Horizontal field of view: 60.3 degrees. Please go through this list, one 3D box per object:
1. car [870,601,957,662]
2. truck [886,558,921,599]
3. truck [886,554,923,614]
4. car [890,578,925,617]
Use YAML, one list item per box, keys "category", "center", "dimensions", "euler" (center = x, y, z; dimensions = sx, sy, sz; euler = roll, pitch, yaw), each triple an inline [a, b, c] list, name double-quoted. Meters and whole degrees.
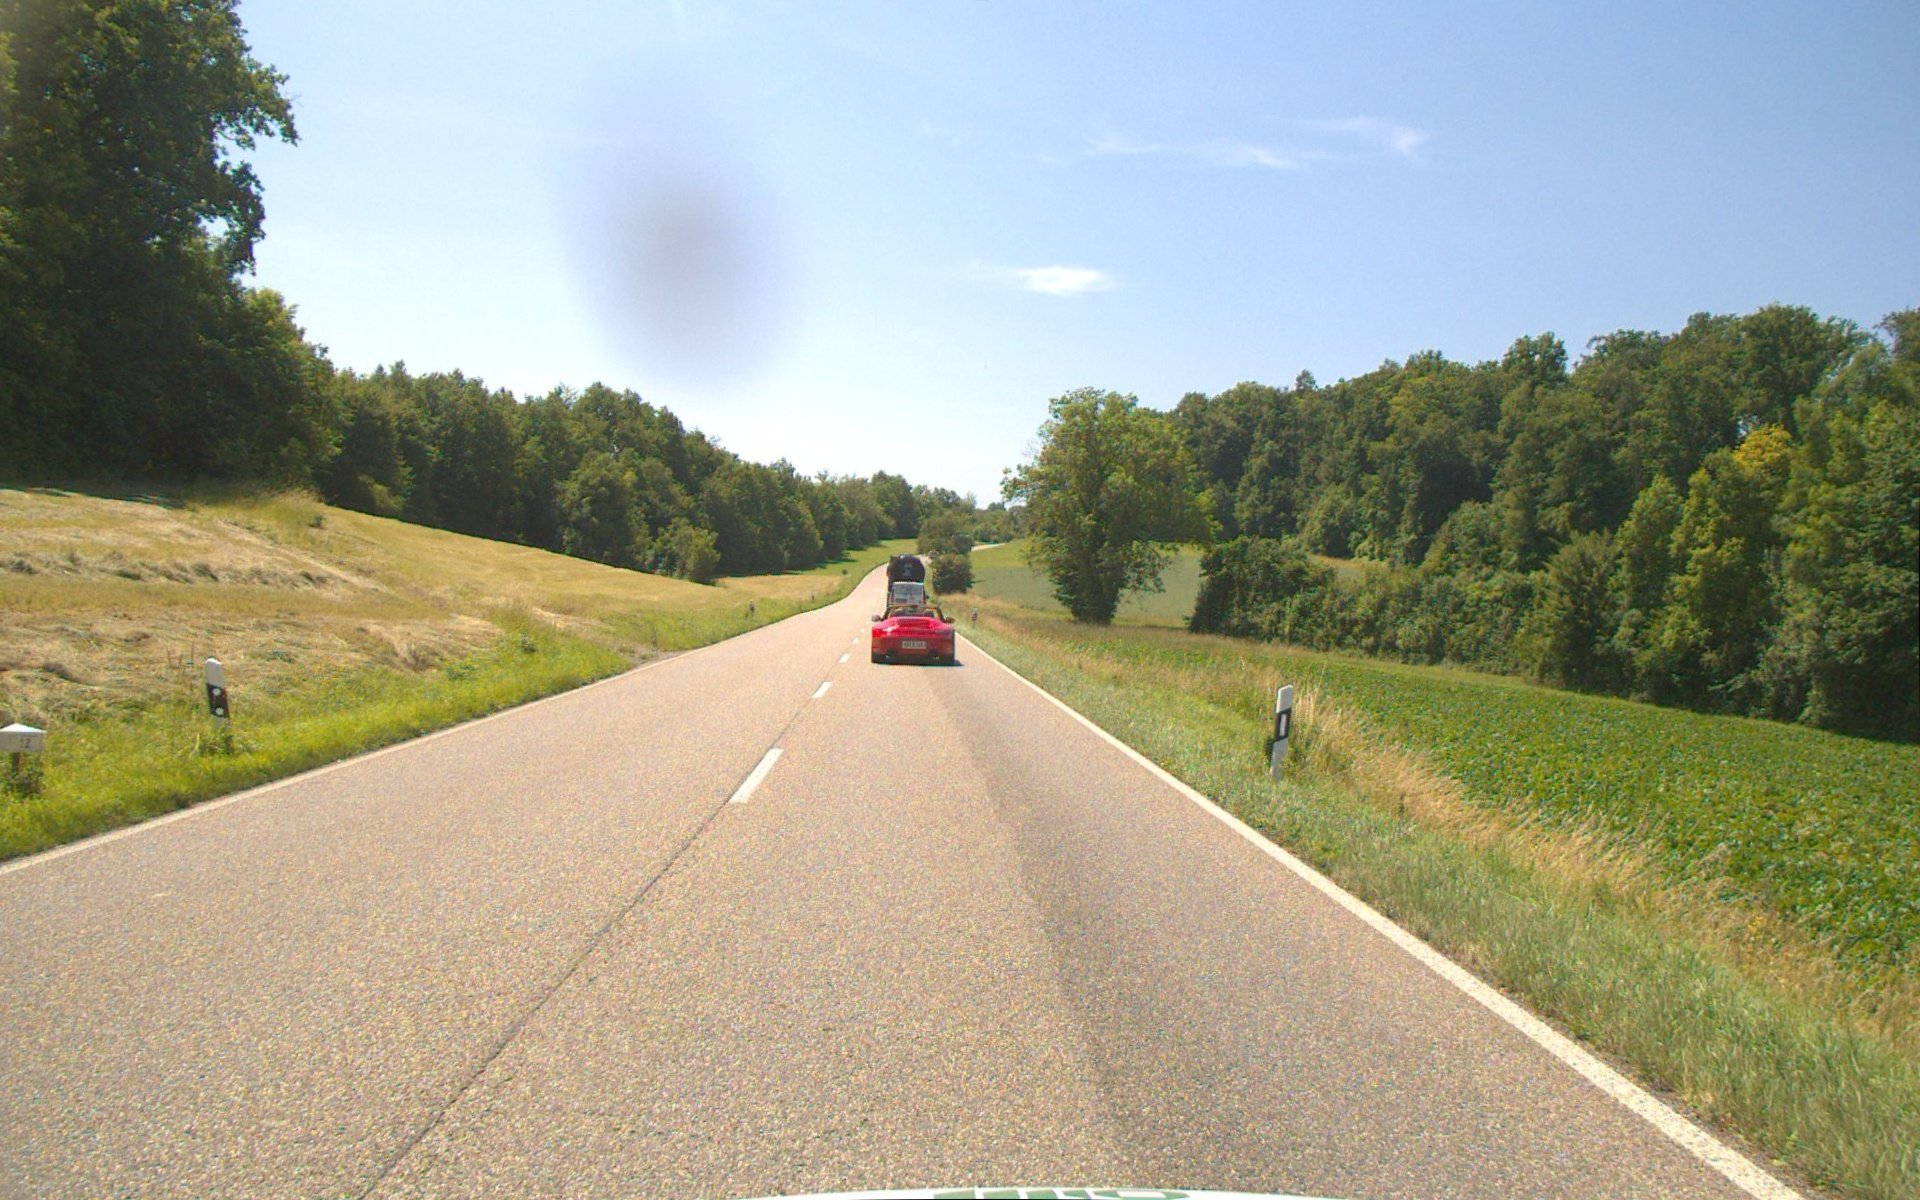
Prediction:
- category: "car"
  center: [-1.038, 0.670, 37.013]
  dimensions: [1.844, 1.277, 4.008]
  euler: [0, 0, -2]
- category: "truck"
  center: [-7.099, -2.738, 206.383]
  dimensions: [3.652, 4.741, 12.021]
  euler: [1, 2, -5]
- category: "truck"
  center: [-4.135, -1.213, 120.425]
  dimensions: [2.356, 4.120, 12.542]
  euler: [1, 1, -3]
- category: "car"
  center: [-2.654, -0.128, 84.197]
  dimensions: [1.644, 1.934, 4.010]
  euler: [0, 1, 0]
